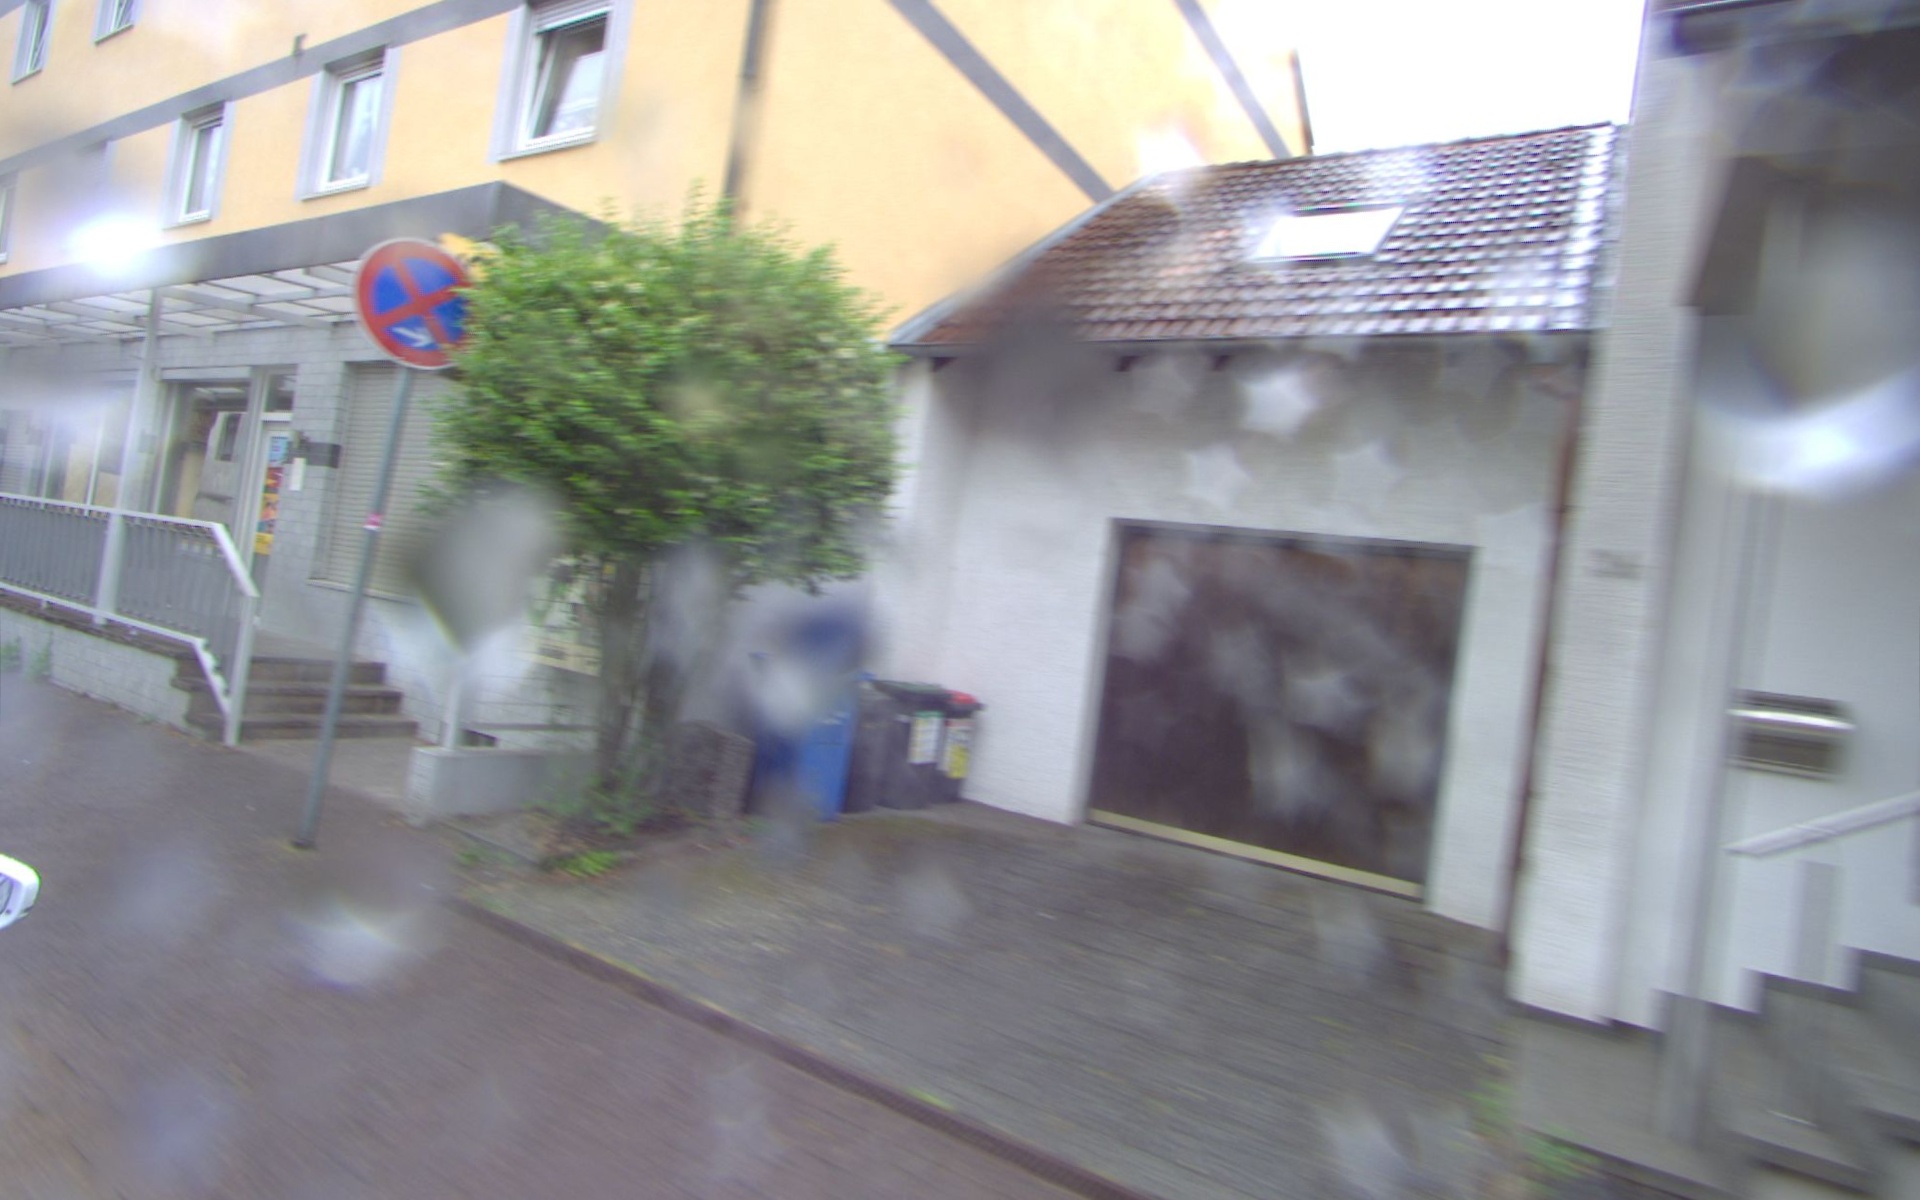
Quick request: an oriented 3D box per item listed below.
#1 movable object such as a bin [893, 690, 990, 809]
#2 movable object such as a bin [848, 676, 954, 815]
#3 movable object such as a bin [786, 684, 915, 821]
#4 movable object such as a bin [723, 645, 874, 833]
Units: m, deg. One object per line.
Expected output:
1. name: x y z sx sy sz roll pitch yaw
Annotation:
1. movable object such as a bin: -0.144 1.164 7.943 0.496 0.835 0.465 7 -1 35
2. movable object such as a bin: -0.436 1.075 7.529 0.524 0.932 0.446 7 -1 35
3. movable object such as a bin: -0.785 1.060 7.172 0.728 0.823 0.449 7 2 35
4. movable object such as a bin: -1.081 0.904 6.715 0.728 1.094 0.509 7 -1 35
